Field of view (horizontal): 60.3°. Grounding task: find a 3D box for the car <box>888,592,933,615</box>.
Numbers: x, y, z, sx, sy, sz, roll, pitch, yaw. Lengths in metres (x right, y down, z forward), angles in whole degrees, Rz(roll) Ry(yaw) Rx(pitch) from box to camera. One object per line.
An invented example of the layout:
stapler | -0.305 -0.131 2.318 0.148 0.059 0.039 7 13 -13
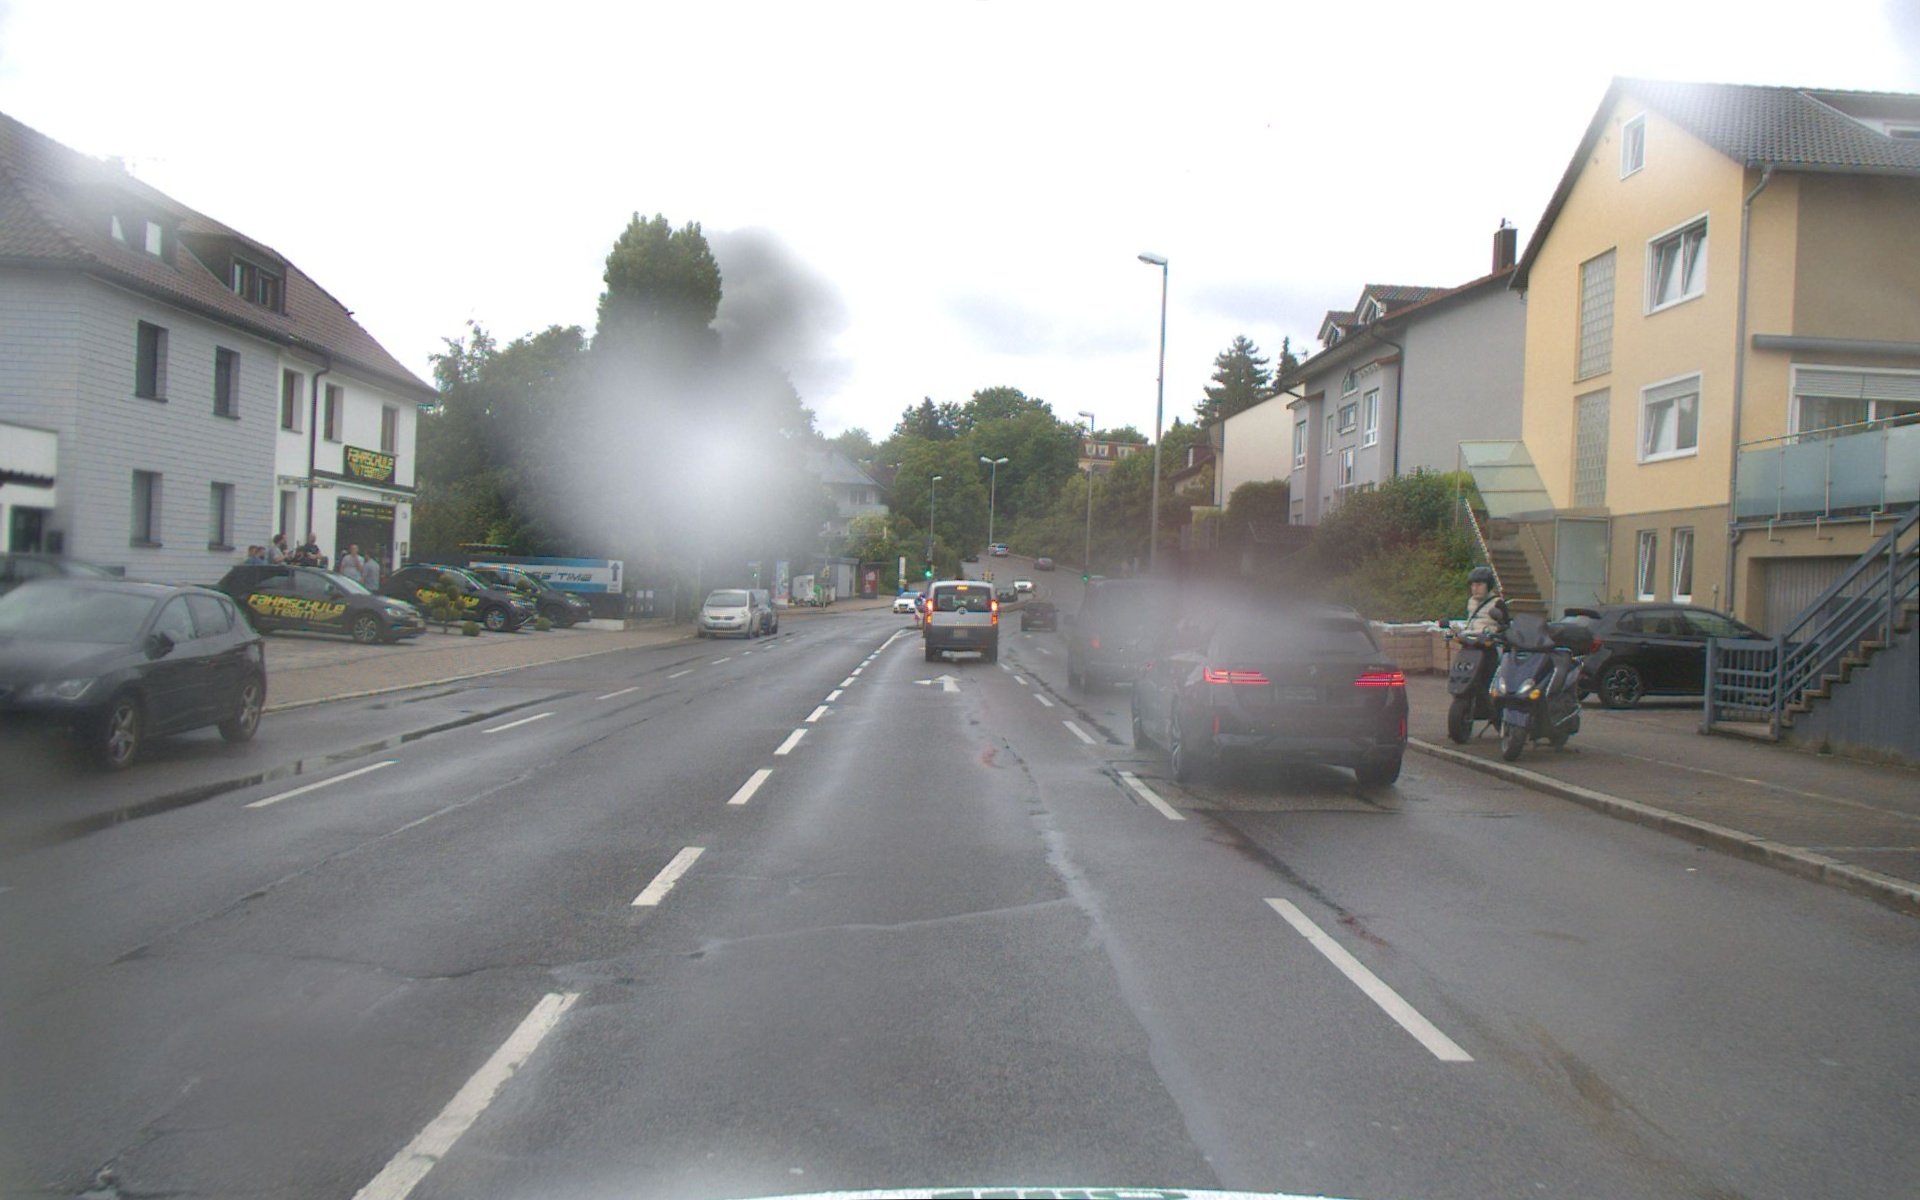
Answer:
car | -3.482 0.252 117.721 1.951 1.574 4.399 2 0 15

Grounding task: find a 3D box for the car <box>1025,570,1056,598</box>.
car | 6.850 -1.375 140.960 2.469 2.048 5.611 2 3 2

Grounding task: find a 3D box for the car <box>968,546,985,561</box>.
car | 2.011 -5.661 201.916 1.953 1.612 3.999 2 0 -1

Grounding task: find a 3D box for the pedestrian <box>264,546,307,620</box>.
pedestrian | -15.842 -0.400 38.861 0.588 1.694 0.650 4 0 4

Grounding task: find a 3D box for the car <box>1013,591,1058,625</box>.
car | 3.657 0.362 80.673 1.953 1.606 3.999 1 0 -1

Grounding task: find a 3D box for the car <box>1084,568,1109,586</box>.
car | 13.067 -2.215 158.231 1.953 1.612 3.999 2 0 -1

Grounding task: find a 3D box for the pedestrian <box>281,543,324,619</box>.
pedestrian | -15.019 -0.433 37.797 0.588 1.694 0.650 4 0 4

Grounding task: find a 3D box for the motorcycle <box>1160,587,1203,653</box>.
motorcycle | 5.290 0.467 39.558 0.689 1.536 2.150 -1 0 -1

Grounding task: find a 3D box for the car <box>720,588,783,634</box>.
car | -7.784 0.404 62.084 1.846 1.612 3.999 2 0 -1

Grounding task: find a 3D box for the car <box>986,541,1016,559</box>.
car | 5.265 -6.466 214.069 2.478 2.048 5.592 2 4 -13

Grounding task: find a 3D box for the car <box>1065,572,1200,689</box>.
car | 2.860 0.482 28.193 1.801 1.798 4.000 2 0 0

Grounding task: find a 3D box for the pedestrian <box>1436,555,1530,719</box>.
pedestrian | 5.530 0.380 17.492 0.612 1.678 0.826 1 0 44

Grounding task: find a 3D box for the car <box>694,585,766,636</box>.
car | -7.663 0.342 55.503 1.846 1.612 3.999 2 0 -1

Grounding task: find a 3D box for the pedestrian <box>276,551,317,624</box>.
pedestrian | -15.935 -0.305 39.720 0.588 1.694 0.650 4 0 4

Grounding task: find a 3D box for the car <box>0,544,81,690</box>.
car | -12.181 0.264 18.239 3.910 1.542 1.853 -3 0 -6

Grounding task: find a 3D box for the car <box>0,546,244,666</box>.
car | -12.789 0.047 24.009 3.906 1.542 1.855 3 0 -1

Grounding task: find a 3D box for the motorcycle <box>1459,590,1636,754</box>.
motorcycle | 5.715 0.648 16.023 0.808 1.476 2.074 1 1 45

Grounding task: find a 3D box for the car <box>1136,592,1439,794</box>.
car | 2.745 0.715 14.784 1.952 1.509 4.000 2 0 1

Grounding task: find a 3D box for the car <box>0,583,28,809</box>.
car | -6.817 0.608 8.905 1.520 1.456 4.011 2 0 -4

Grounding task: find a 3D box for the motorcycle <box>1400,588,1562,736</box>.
motorcycle | 5.554 0.640 17.554 0.746 1.476 2.074 1 0 45

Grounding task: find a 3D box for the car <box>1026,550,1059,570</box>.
car | 9.600 -4.686 193.362 2.478 2.048 5.593 1 3 -12

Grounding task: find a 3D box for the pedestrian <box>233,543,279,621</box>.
pedestrian | -15.837 -0.398 37.216 0.588 1.694 0.650 4 0 4

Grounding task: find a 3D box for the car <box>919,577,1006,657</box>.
car | 0.054 0.391 39.996 1.953 1.768 4.000 2 0 0

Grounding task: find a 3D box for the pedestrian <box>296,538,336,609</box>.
pedestrian | -15.854 -0.653 40.721 0.588 1.694 0.650 4 0 4

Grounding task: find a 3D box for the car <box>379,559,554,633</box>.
car | -13.131 -0.111 44.172 3.991 1.542 1.855 5 0 -1

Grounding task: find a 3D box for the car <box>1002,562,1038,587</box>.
car | 5.737 -2.489 158.795 2.474 2.048 5.602 2 4 -7

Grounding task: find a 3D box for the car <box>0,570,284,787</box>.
car | -7.371 0.551 14.080 1.722 1.559 4.205 2 0 -4

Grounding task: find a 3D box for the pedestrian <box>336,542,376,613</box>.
pedestrian | -14.815 -0.554 40.575 0.588 1.694 0.650 4 0 7

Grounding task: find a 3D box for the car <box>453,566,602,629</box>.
car | -13.323 -0.083 51.103 3.991 1.542 1.855 5 0 -1

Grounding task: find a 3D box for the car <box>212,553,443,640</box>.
car | -13.004 -0.071 34.204 3.990 1.542 1.855 3 0 -1

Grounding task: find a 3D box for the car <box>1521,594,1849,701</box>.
car | 10.339 0.660 23.779 3.907 1.458 1.868 0 0 -3

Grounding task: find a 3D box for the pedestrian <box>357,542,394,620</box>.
pedestrian | -14.050 -0.451 39.760 0.589 1.821 0.649 4 0 -6

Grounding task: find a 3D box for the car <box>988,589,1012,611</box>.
car | 3.371 0.004 139.923 1.953 1.803 3.999 1 0 -1

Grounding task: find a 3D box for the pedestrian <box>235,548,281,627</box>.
pedestrian | -15.473 -0.273 36.471 0.588 1.694 0.650 4 0 4
